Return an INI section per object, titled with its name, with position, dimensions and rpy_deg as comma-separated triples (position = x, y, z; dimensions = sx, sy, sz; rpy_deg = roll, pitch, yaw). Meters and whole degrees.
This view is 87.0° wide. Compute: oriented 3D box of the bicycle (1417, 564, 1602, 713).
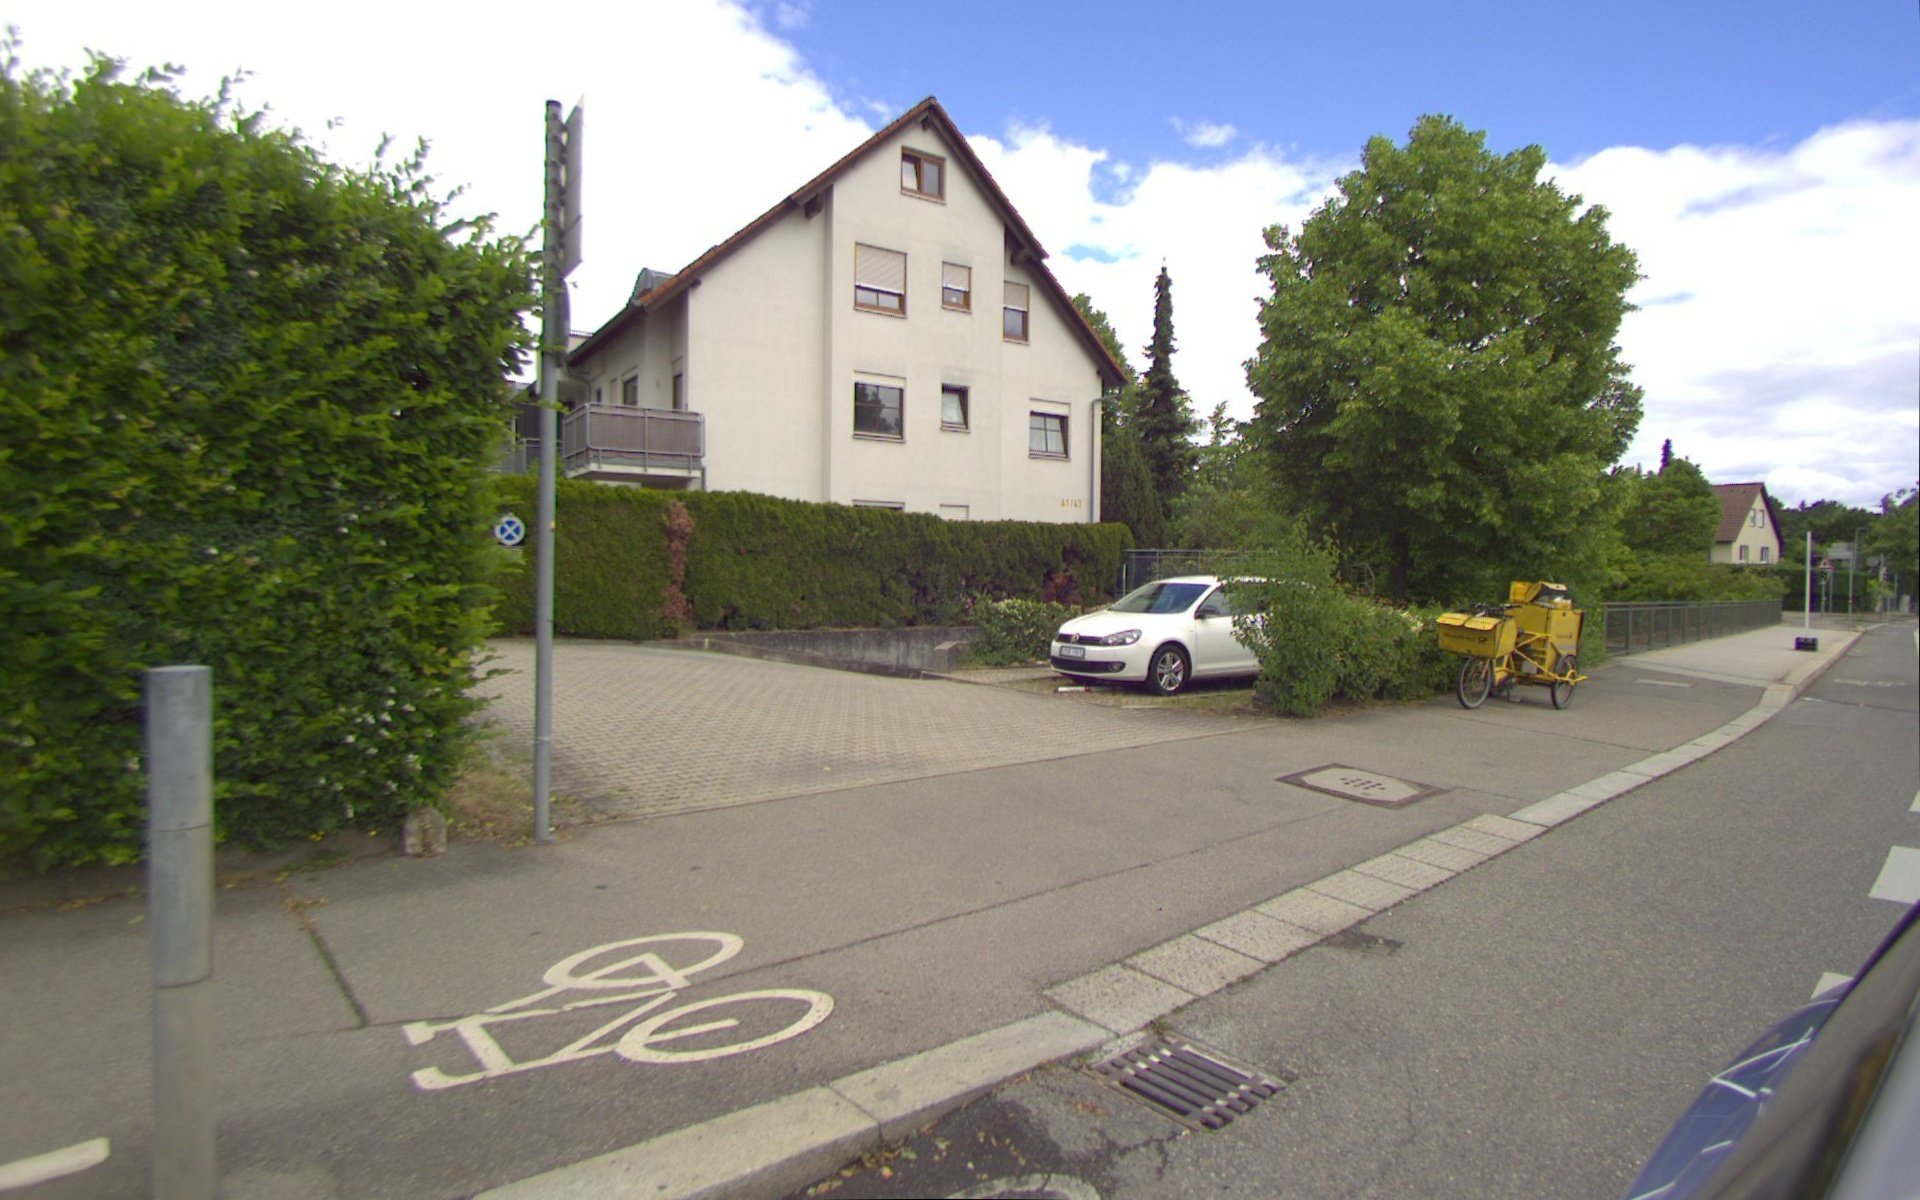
[bicycle]
position = 6.578, 0.401, 12.028
dimensions = 2.734, 1.528, 0.894
rpy_deg = 0, 5, -41

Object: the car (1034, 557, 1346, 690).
[car]
position = 3.092, 0.302, 13.362
dimensions = 3.980, 1.523, 1.677
rpy_deg = 2, 0, -32
